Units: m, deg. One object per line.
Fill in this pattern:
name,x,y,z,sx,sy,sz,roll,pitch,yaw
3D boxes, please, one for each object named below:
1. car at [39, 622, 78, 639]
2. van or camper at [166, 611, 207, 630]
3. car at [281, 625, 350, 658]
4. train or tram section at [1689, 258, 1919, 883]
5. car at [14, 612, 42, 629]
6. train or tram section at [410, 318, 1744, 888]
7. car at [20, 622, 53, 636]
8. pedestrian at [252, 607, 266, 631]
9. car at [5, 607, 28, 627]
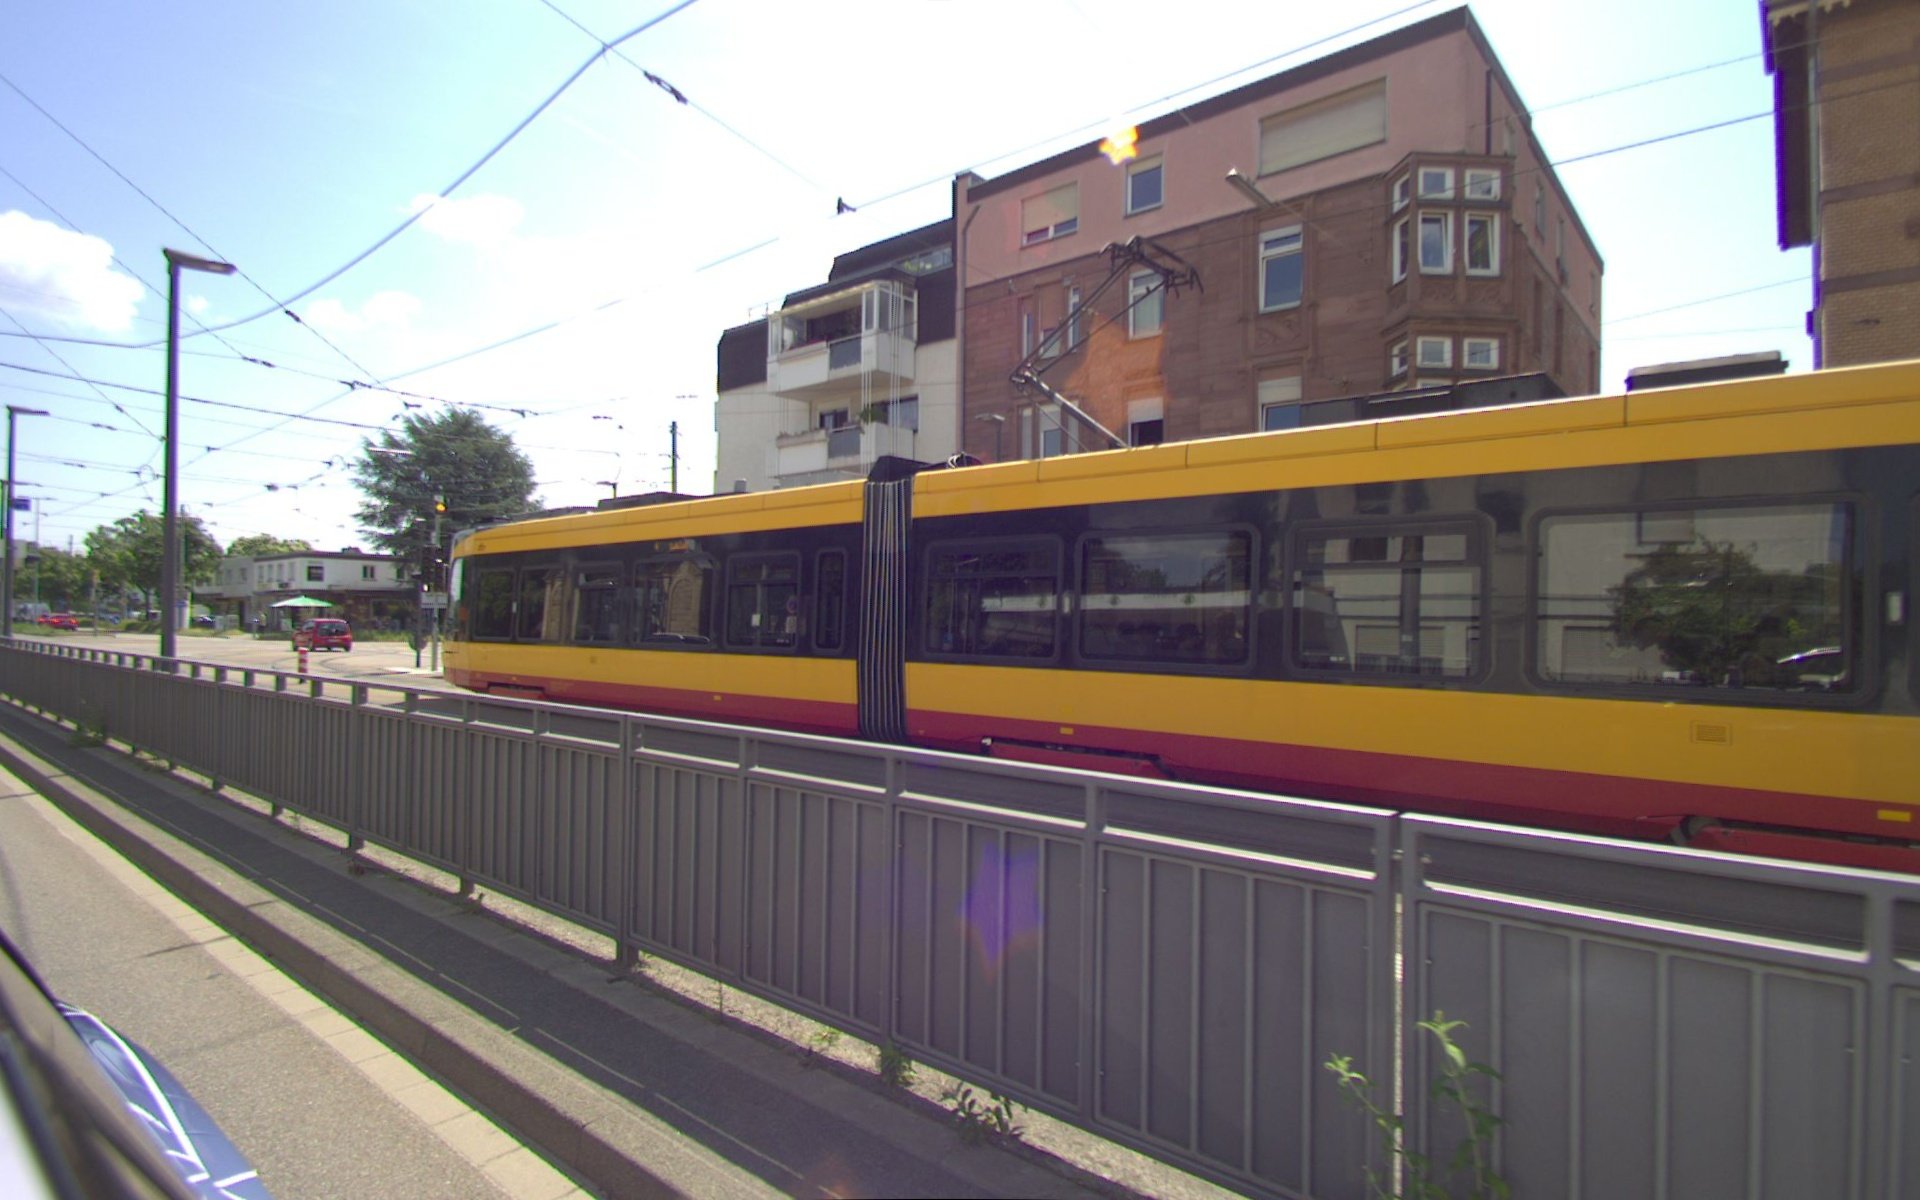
car,-78.556,2.659,88.127,4.820,1.461,1.972,-1,-3,42
van or camper,-130.550,3.457,170.827,2.246,3.141,5.092,-1,-2,40
car,-29.599,1.882,46.443,3.851,1.456,1.637,-1,-3,41
train or tram section,11.895,-0.155,2.377,16.340,3.594,3.201,0,-2,41
car,-114.342,2.518,124.131,3.996,1.980,1.942,-1,-3,40
train or tram section,-1.934,0.095,14.324,20.489,3.594,3.217,0,-2,41
car,-89.981,2.808,98.579,3.996,1.364,1.762,-1,-2,40
pedestrian,-52.106,1.414,75.257,0.679,1.788,0.485,0,3,21
car,-125.243,2.223,134.338,3.996,2.608,1.722,-1,-3,40
